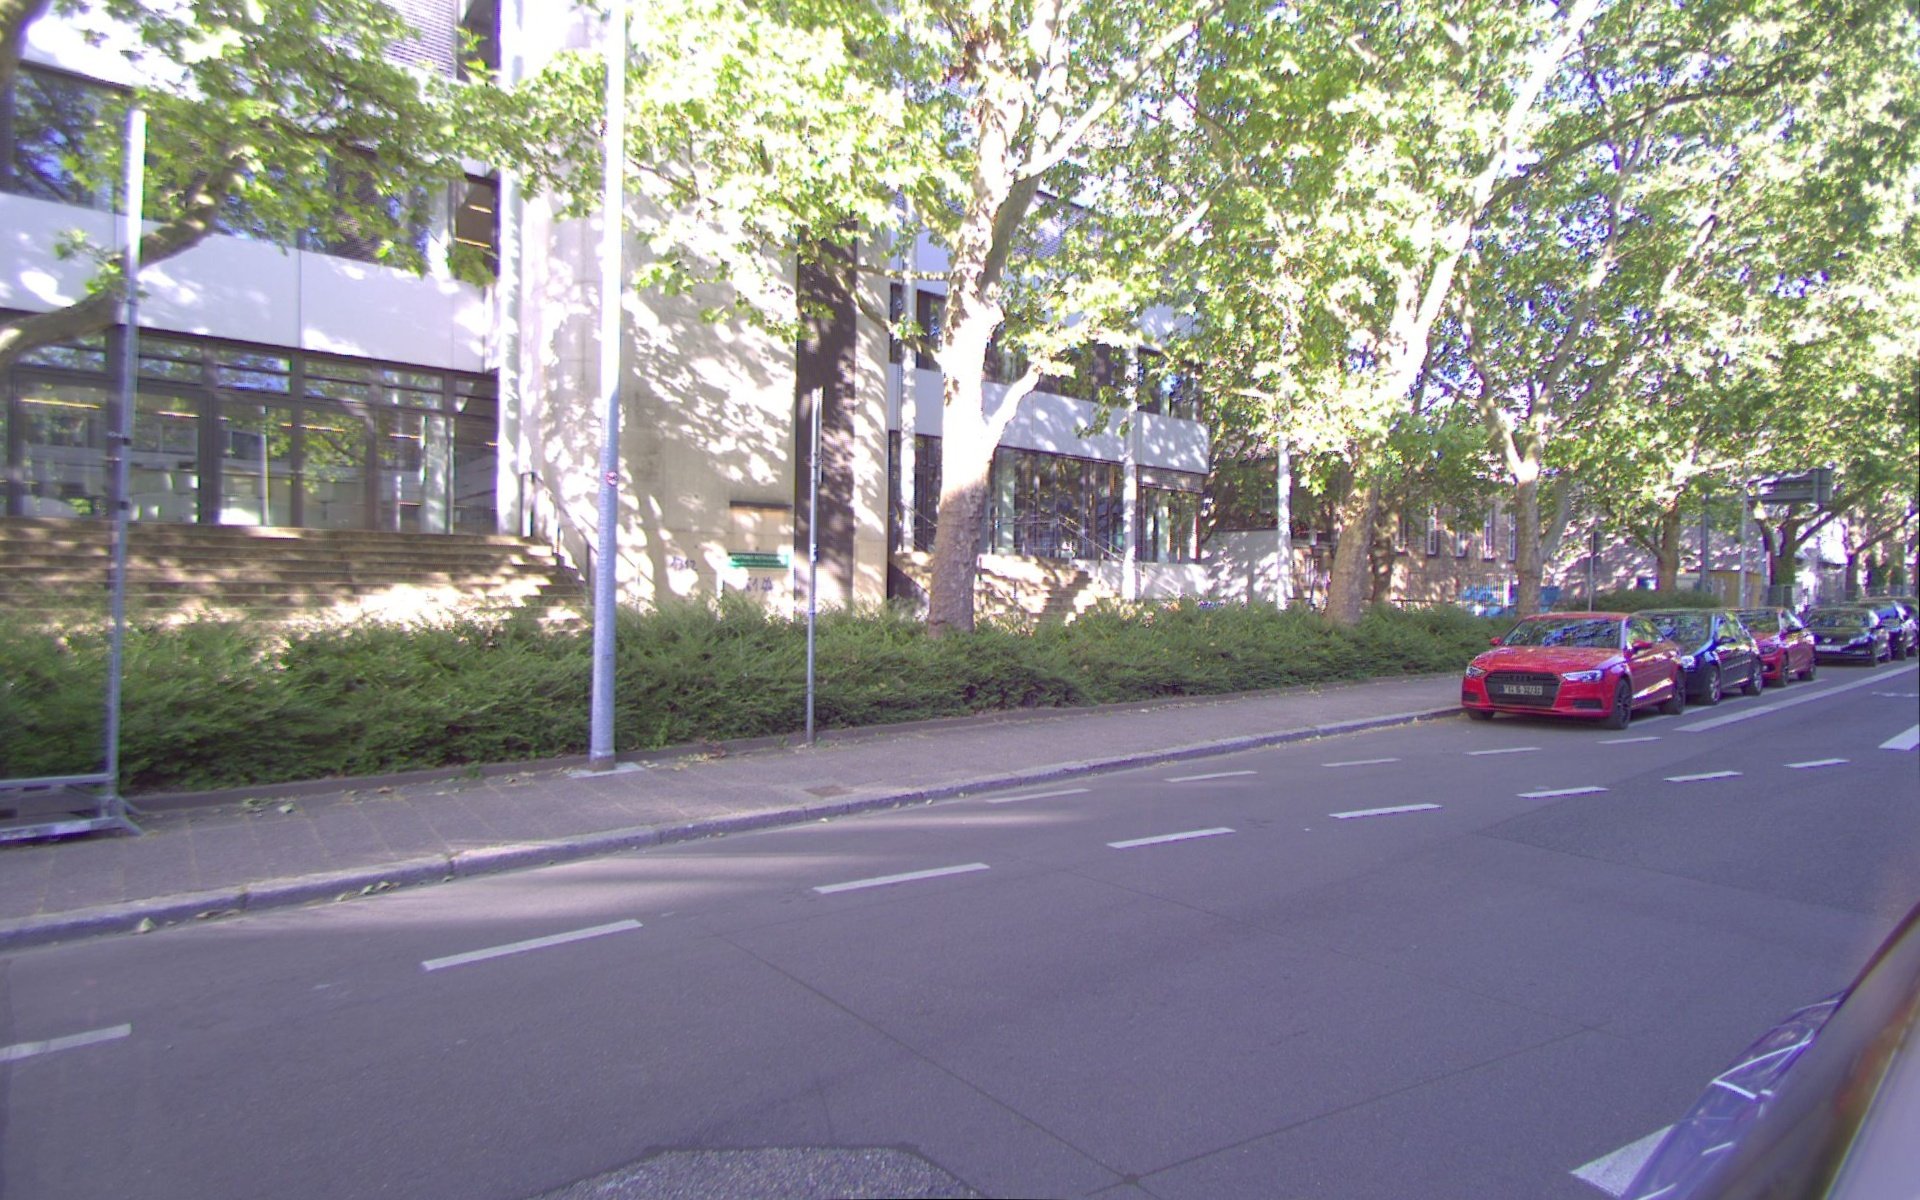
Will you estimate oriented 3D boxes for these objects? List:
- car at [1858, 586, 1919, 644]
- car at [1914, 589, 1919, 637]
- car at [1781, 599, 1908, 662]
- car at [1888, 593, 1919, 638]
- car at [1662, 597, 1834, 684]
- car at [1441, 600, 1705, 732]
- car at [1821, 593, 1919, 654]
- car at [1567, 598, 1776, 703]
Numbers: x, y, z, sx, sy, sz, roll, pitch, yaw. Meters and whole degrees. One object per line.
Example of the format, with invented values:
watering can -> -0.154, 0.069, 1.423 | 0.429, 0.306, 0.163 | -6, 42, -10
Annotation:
car -> 31.271, 0.450, 33.312 | 4.493, 1.809, 1.997 | -1, 0, -41
car -> 39.615, 0.486, 40.283 | 3.930, 1.872, 1.997 | -1, 0, -41
car -> 22.806, 0.722, 26.062 | 3.527, 1.474, 1.997 | -1, 0, -41
car -> 36.014, 0.545, 37.456 | 4.070, 1.585, 1.997 | -1, 0, -41
car -> 15.656, 0.718, 20.055 | 3.762, 1.517, 1.997 | -1, 0, -41
car -> 8.264, 0.752, 13.525 | 3.930, 1.443, 1.906 | -1, 1, -41
car -> 26.534, 0.609, 29.185 | 4.070, 1.621, 1.997 | -1, 0, -41
car -> 11.683, 0.730, 16.563 | 3.581, 1.478, 1.997 | -1, 0, -41
